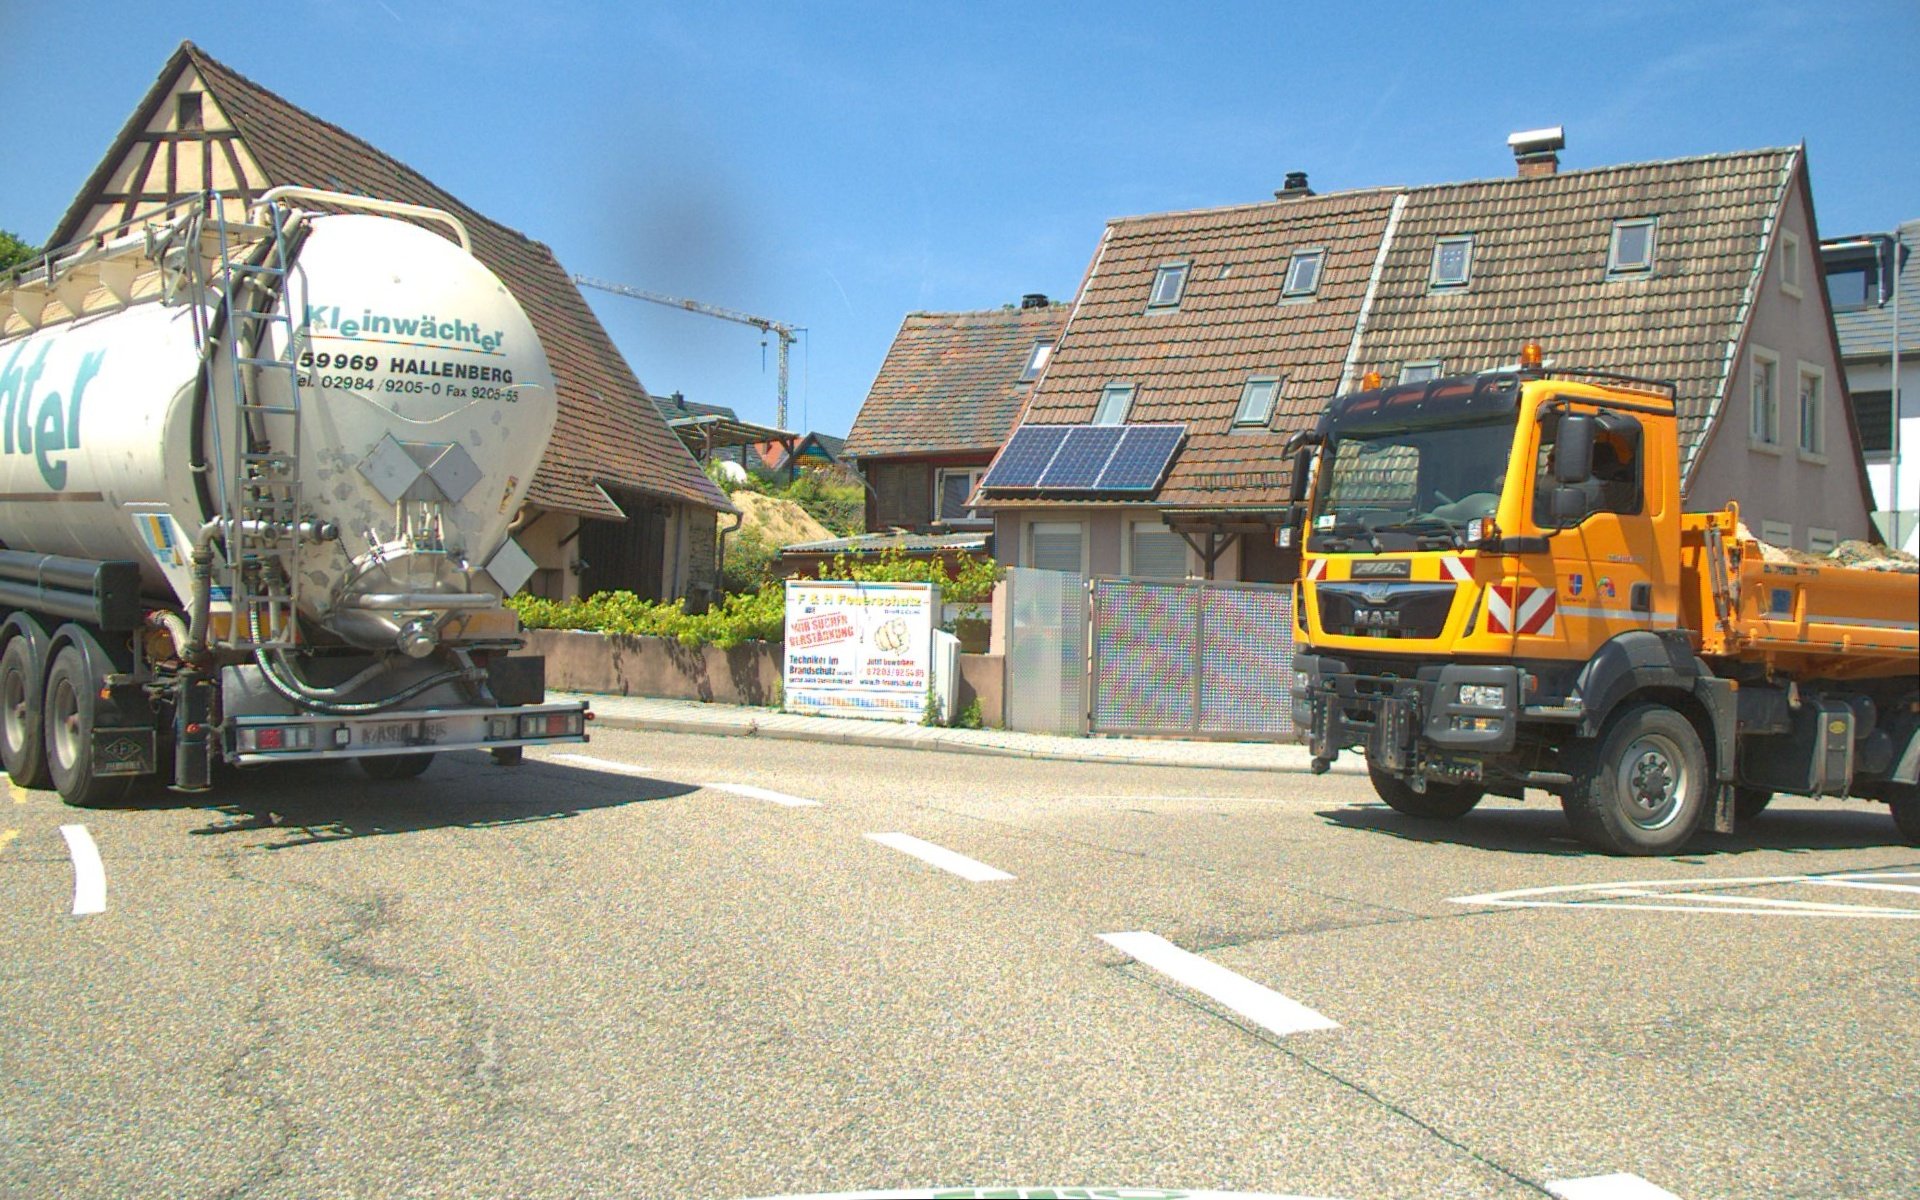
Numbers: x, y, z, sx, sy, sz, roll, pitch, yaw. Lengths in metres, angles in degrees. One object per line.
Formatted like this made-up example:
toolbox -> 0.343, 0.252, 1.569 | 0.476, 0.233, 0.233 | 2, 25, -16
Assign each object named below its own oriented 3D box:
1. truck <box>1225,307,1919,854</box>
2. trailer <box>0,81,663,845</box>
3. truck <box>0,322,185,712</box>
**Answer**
truck -> 5.857, 0.077, 12.569 | 7.345, 3.237, 2.648 | 3, -2, -26
trailer -> -6.895, -0.851, 13.932 | 2.937, 4.016, 11.439 | 2, 0, -42
truck -> -12.123, -0.927, 18.887 | 5.450, 4.034, 2.996 | 2, 0, 24
